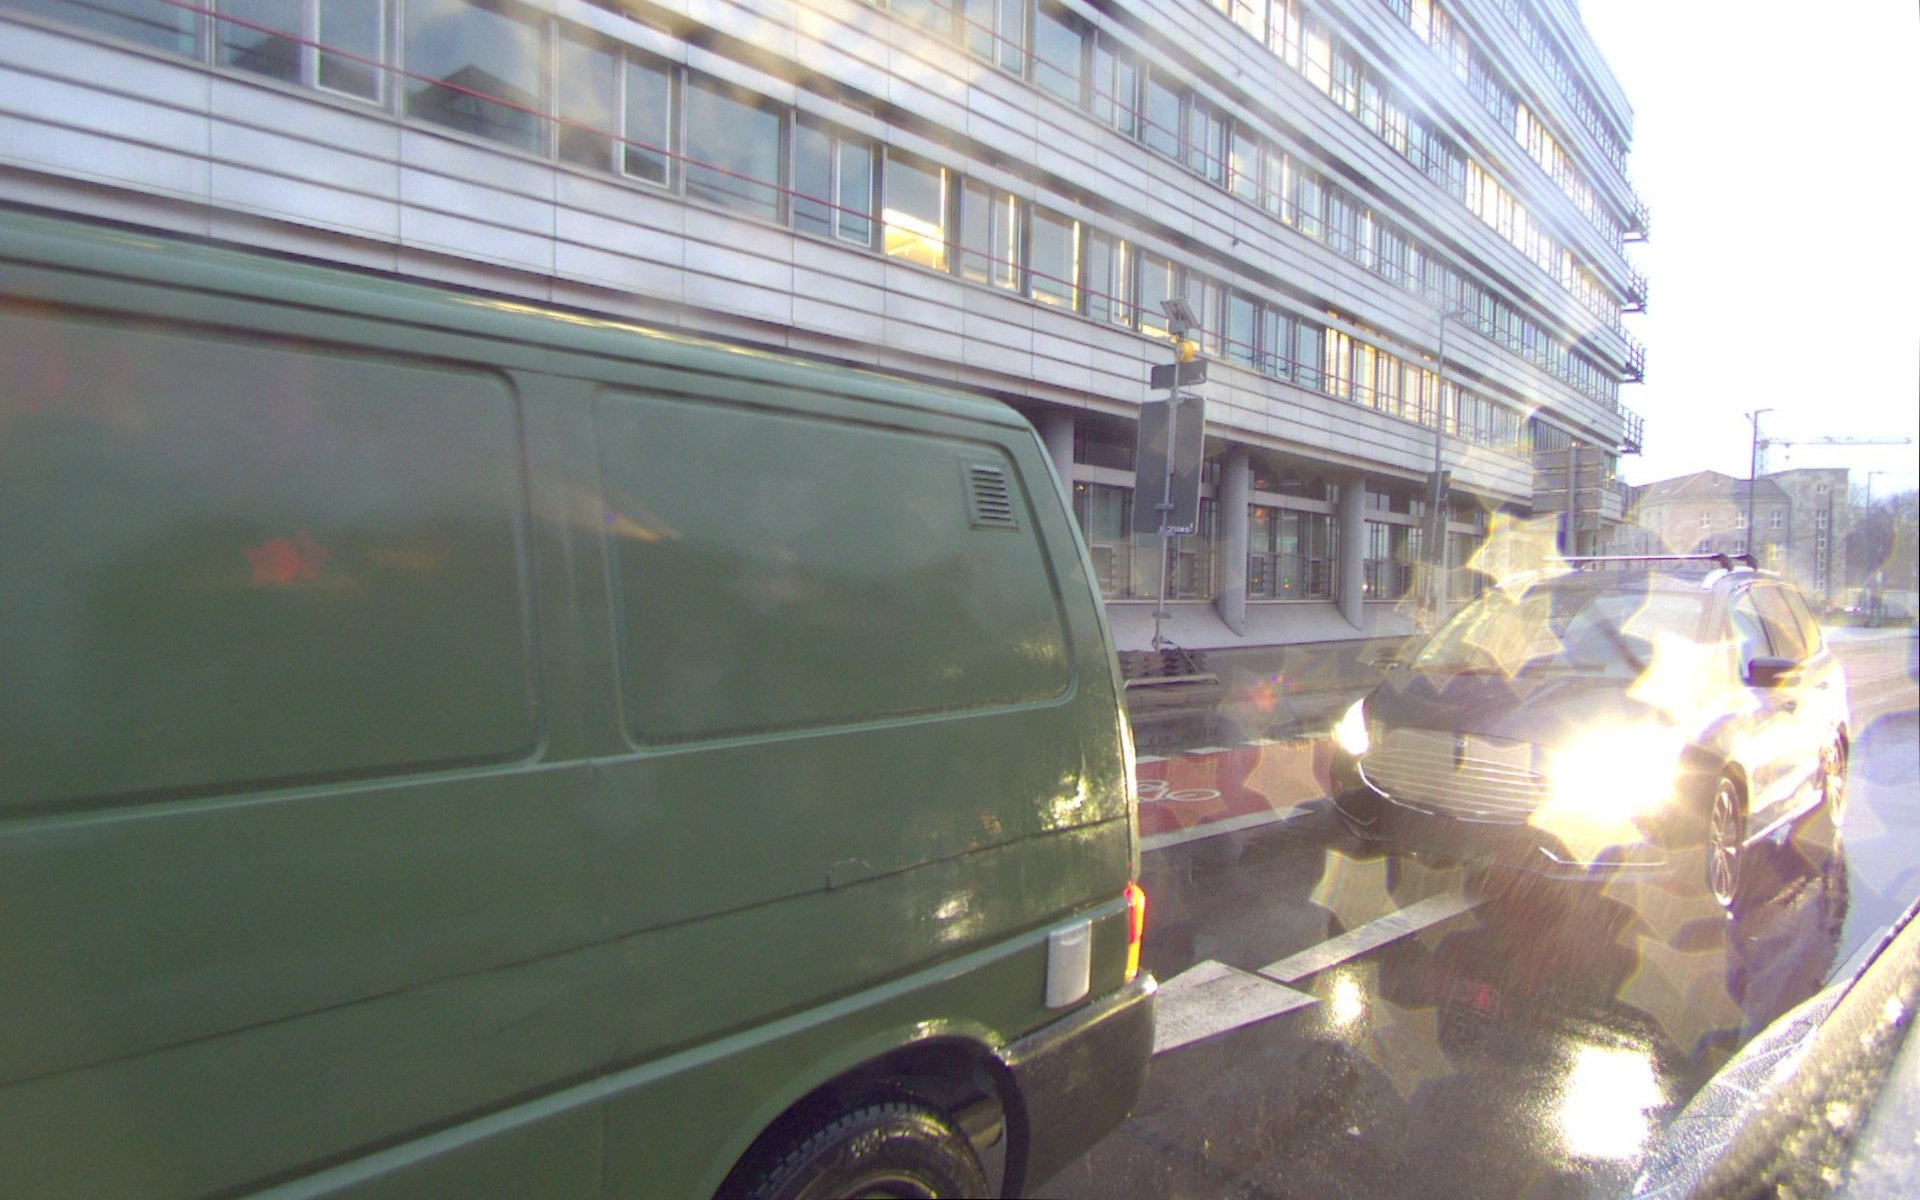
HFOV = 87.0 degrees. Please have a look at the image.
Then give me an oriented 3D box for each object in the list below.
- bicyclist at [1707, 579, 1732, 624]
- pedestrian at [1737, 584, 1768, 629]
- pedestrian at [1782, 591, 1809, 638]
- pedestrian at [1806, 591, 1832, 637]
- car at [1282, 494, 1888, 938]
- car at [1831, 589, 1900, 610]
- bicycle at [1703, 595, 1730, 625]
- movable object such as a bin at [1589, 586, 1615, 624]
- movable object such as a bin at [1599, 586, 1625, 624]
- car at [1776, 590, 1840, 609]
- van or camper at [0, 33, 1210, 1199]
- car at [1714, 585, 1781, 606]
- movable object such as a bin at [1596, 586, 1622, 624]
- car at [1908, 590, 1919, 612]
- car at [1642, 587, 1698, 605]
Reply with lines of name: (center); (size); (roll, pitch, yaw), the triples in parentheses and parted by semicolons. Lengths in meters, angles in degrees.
bicyclist: (31.910, 0.053, 42.513); (0.793, 1.820, 0.670); (0, 2, -45)
pedestrian: (31.646, 0.265, 40.401); (0.953, 1.722, 0.746); (0, 4, -44)
pedestrian: (32.185, 0.548, 38.985); (0.870, 1.723, 0.650); (0, 3, -44)
pedestrian: (32.644, 0.525, 38.451); (0.870, 1.689, 0.615); (0, 3, -44)
car: (4.153, 0.470, 6.375); (4.587, 1.834, 1.887); (0, 0, -39)
car: (74.269, -0.056, 83.038); (1.743, 1.556, 3.775); (1, 1, -24)
bicycle: (31.853, 0.423, 42.584); (0.679, 1.213, 1.733); (0, 1, 45)
movable object such as a bin: (24.813, 0.180, 39.122); (0.826, 1.446, 0.665); (0, 1, -44)
movable object such as a bin: (26.046, 0.194, 40.441); (0.826, 1.495, 0.665); (0, 1, -44)
car: (72.859, -0.064, 87.013); (1.743, 1.556, 3.775); (1, 1, -24)
van or camper: (-1.703, 0.468, 1.284); (4.341, 1.931, 1.760); (0, 0, -41)
car: (71.046, -0.396, 91.385); (1.958, 1.782, 4.386); (0, 1, -24)
movable object such as a bin: (25.472, 0.195, 39.706); (0.826, 1.446, 0.665); (0, 1, -44)
car: (76.566, 0.124, 78.548); (1.743, 1.730, 3.932); (0, 1, -26)
car: (68.590, -0.407, 97.823); (1.958, 1.693, 4.013); (0, 1, -24)
